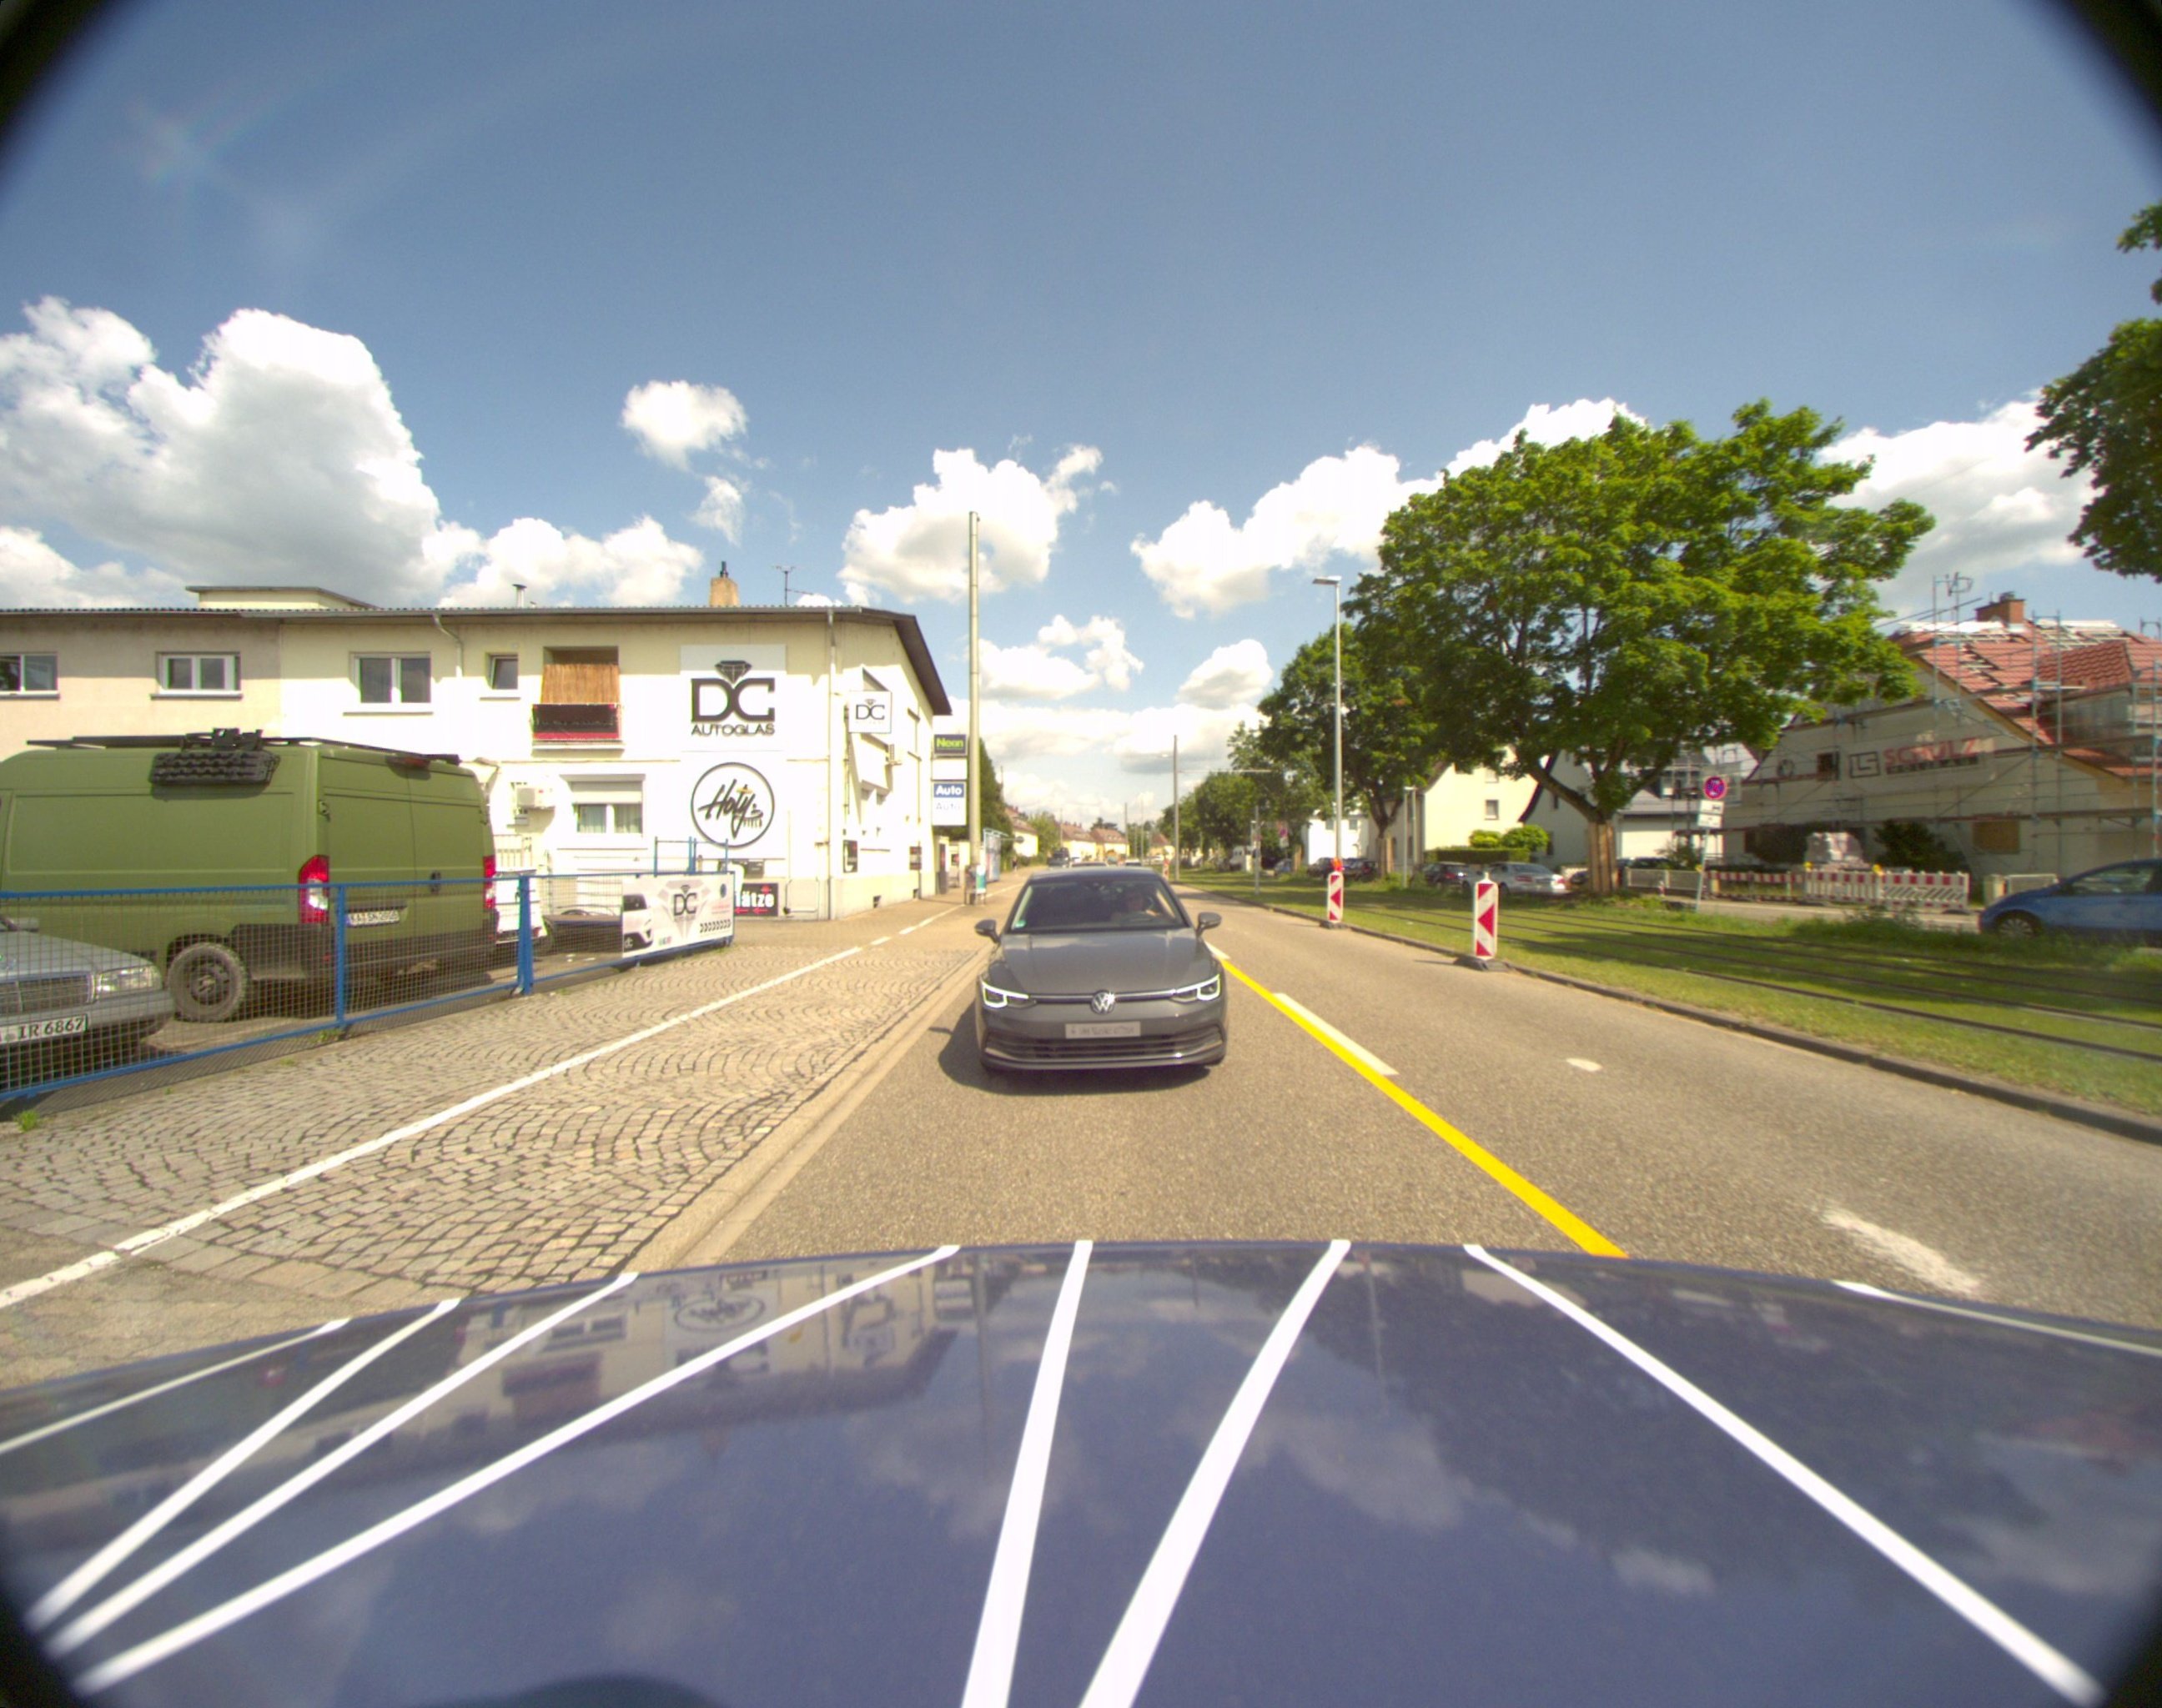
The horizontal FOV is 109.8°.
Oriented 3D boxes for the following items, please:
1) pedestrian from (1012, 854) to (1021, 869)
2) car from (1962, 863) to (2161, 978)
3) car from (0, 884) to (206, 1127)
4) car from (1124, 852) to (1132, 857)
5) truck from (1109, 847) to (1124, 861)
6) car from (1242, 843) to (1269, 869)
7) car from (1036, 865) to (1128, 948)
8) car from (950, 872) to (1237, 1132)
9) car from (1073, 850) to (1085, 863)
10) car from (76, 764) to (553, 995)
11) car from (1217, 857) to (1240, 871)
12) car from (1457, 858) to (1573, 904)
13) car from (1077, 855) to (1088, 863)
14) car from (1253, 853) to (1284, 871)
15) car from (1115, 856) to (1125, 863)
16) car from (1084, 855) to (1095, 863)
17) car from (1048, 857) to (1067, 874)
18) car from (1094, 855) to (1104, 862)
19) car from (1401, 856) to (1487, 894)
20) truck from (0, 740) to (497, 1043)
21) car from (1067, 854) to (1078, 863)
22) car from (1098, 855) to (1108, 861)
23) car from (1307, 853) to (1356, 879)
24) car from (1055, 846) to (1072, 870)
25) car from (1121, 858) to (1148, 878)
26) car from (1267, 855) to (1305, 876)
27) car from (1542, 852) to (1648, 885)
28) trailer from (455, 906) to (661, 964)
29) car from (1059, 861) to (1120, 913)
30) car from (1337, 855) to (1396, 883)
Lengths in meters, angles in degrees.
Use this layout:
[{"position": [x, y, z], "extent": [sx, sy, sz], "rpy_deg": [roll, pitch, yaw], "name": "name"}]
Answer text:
[{"position": [-6.775, 0.742, 80.211], "extent": [0.816, 1.577, 0.918], "rpy_deg": [0, 0, 1], "name": "pedestrian"}, {"position": [16.241, 0.961, 11.224], "extent": [1.755, 1.602, 4.050], "rpy_deg": [0, 0, 0], "name": "car"}, {"position": [-8.435, 0.919, 4.803], "extent": [4.206, 1.388, 1.804], "rpy_deg": [0, 0, 8], "name": "car"}, {"position": [13.549, 0.240, 218.469], "extent": [1.718, 1.470, 4.013], "rpy_deg": [0, 0, 13], "name": "car"}, {"position": [9.422, 0.026, 201.127], "extent": [2.589, 3.431, 8.585], "rpy_deg": [0, 0, 11], "name": "truck"}, {"position": [17.653, 0.200, 77.053], "extent": [1.755, 2.601, 4.606], "rpy_deg": [0, 0, 0], "name": "car"}, {"position": [0.047, 1.008, 16.112], "extent": [1.719, 1.470, 4.009], "rpy_deg": [0, 0, 1], "name": "car"}, {"position": [0.102, 0.939, 6.575], "extent": [1.719, 1.470, 4.009], "rpy_deg": [0, 0, 1], "name": "car"}, {"position": [-0.417, 0.403, 136.315], "extent": [1.719, 2.360, 5.211], "rpy_deg": [0, 0, 5], "name": "car"}, {"position": [-9.452, 0.303, 9.645], "extent": [4.209, 2.653, 1.803], "rpy_deg": [0, 0, 0], "name": "car"}, {"position": [16.940, 1.156, 87.262], "extent": [1.755, 1.602, 4.606], "rpy_deg": [0, 0, 0], "name": "car"}, {"position": [16.392, 0.967, 28.999], "extent": [1.755, 1.602, 4.606], "rpy_deg": [0, 0, 0], "name": "car"}, {"position": [0.352, 0.991, 146.547], "extent": [1.719, 1.470, 4.011], "rpy_deg": [0, 0, 6], "name": "car"}, {"position": [17.591, 0.759, 71.487], "extent": [1.755, 1.602, 4.606], "rpy_deg": [0, 0, 0], "name": "car"}, {"position": [8.837, 1.193, 171.453], "extent": [1.754, 1.405, 4.264], "rpy_deg": [0, 0, 8], "name": "car"}, {"position": [1.828, 0.992, 155.295], "extent": [1.718, 1.470, 4.011], "rpy_deg": [0, 0, 8], "name": "car"}, {"position": [-2.154, 1.068, 70.980], "extent": [1.720, 1.470, 4.009], "rpy_deg": [0, 0, 0], "name": "car"}, {"position": [4.119, 0.999, 172.729], "extent": [1.718, 1.470, 4.011], "rpy_deg": [0, 0, 8], "name": "car"}, {"position": [16.594, 0.919, 35.021], "extent": [1.755, 1.602, 4.606], "rpy_deg": [0, 0, 0], "name": "car"}, {"position": [-8.621, 0.330, 7.560], "extent": [3.997, 2.592, 2.069], "rpy_deg": [0, 0, 1], "name": "truck"}, {"position": [-1.354, 0.741, 122.952], "extent": [1.720, 1.470, 4.009], "rpy_deg": [0, 0, 0], "name": "car"}, {"position": [5.192, 1.001, 179.078], "extent": [1.718, 1.470, 4.011], "rpy_deg": [0, 0, 8], "name": "car"}, {"position": [16.684, 0.767, 50.899], "extent": [1.755, 1.602, 4.606], "rpy_deg": [0, 0, 0], "name": "car"}, {"position": [-1.910, 0.413, 82.842], "extent": [1.720, 2.526, 5.794], "rpy_deg": [0, 0, 0], "name": "car"}, {"position": [3.965, 1.028, 56.928], "extent": [1.719, 1.405, 4.262], "rpy_deg": [0, 0, 1], "name": "car"}, {"position": [16.501, 0.920, 61.348], "extent": [1.755, 1.602, 4.606], "rpy_deg": [0, 0, 0], "name": "car"}, {"position": [25.516, 0.724, 37.824], "extent": [4.047, 1.602, 1.757], "rpy_deg": [0, 0, 1], "name": "car"}, {"position": [-8.059, 1.239, 11.830], "extent": [2.329, 0.762, 1.269], "rpy_deg": [0, 0, 2], "name": "trailer"}, {"position": [0.282, 0.992, 24.171], "extent": [1.787, 1.470, 4.009], "rpy_deg": [0, 0, 1], "name": "car"}, {"position": [16.906, 0.853, 45.259], "extent": [1.755, 1.602, 4.606], "rpy_deg": [0, 0, 0], "name": "car"}]
